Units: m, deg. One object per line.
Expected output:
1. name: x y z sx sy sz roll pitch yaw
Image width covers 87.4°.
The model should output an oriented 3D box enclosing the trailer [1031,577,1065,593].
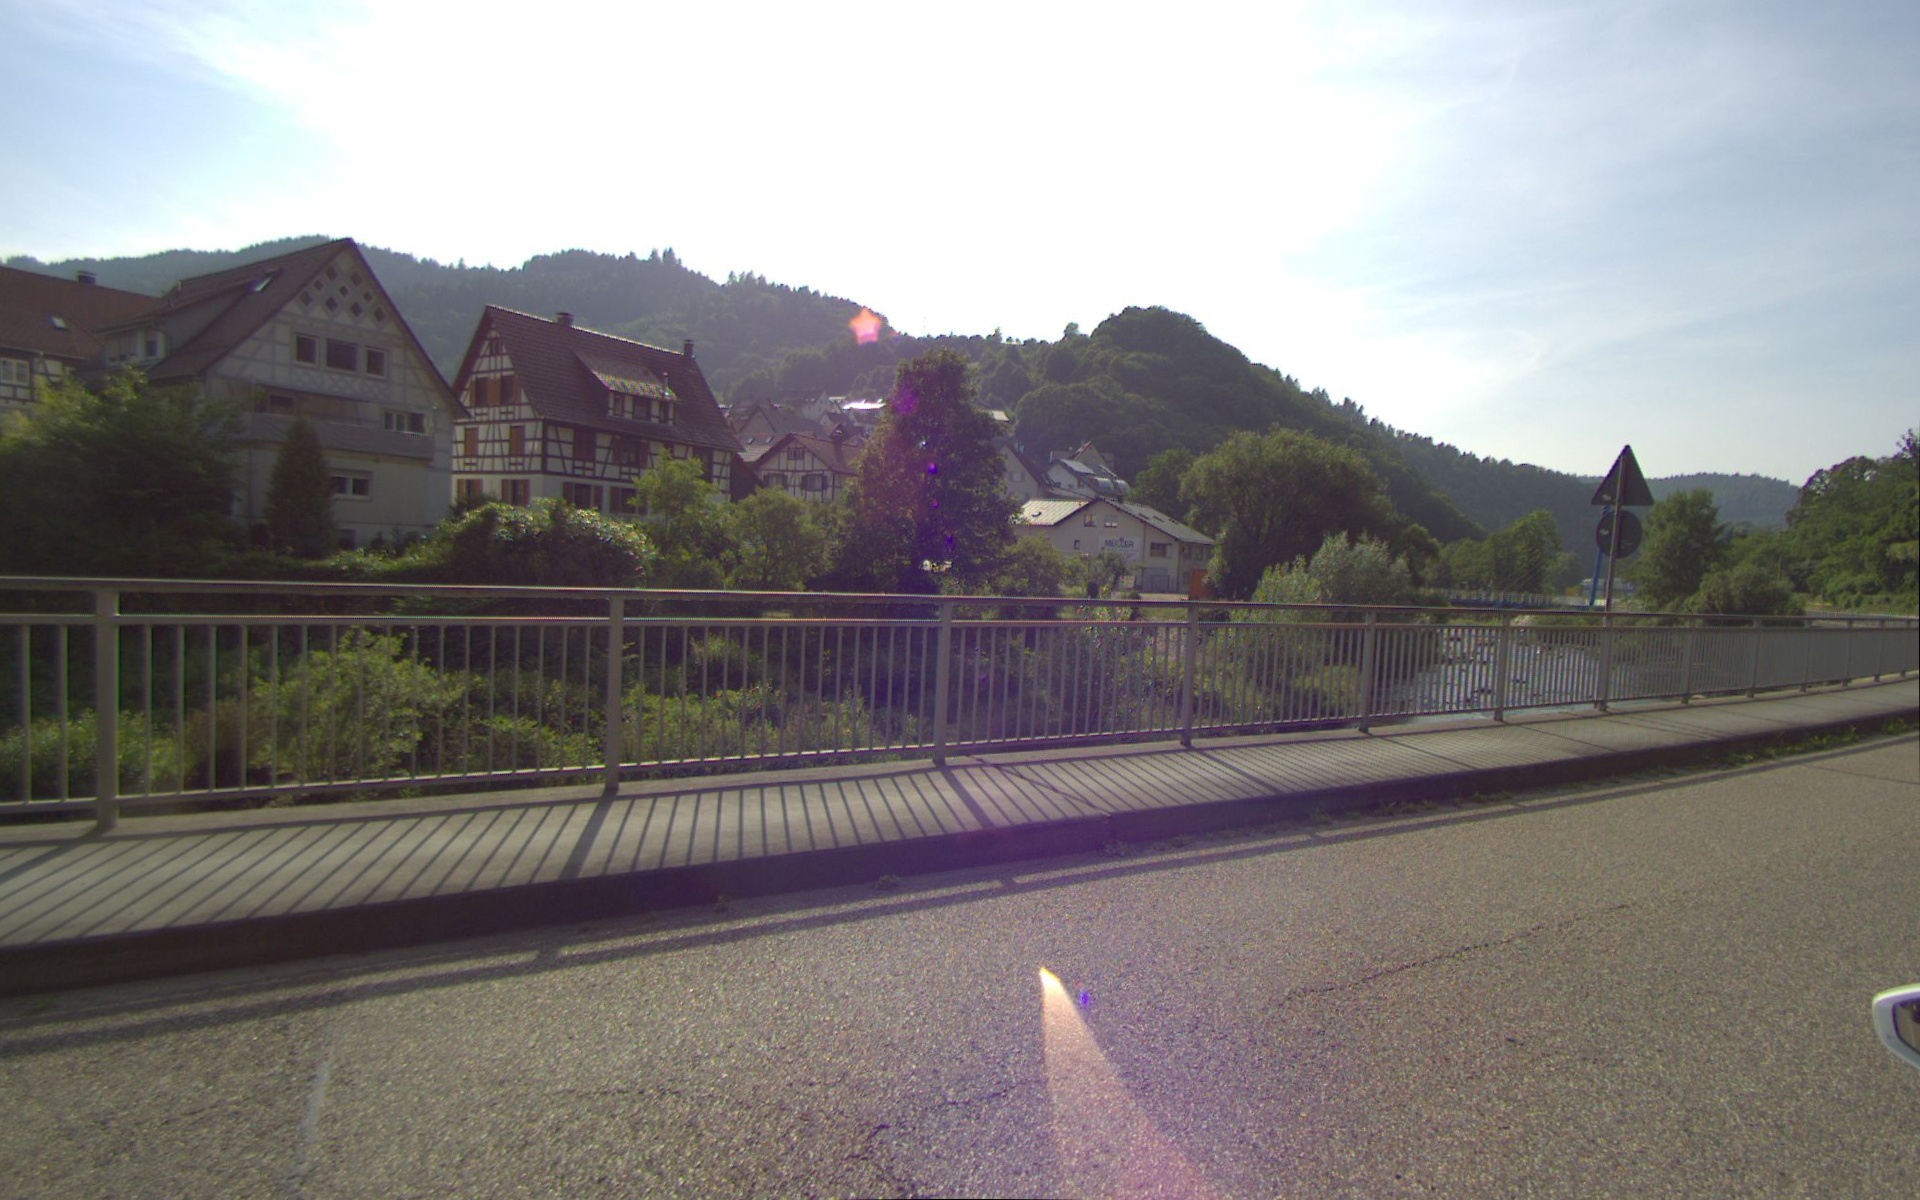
1. trailer: 7.618 -1.262 86.900 1.861 1.327 3.698 1 0 22
